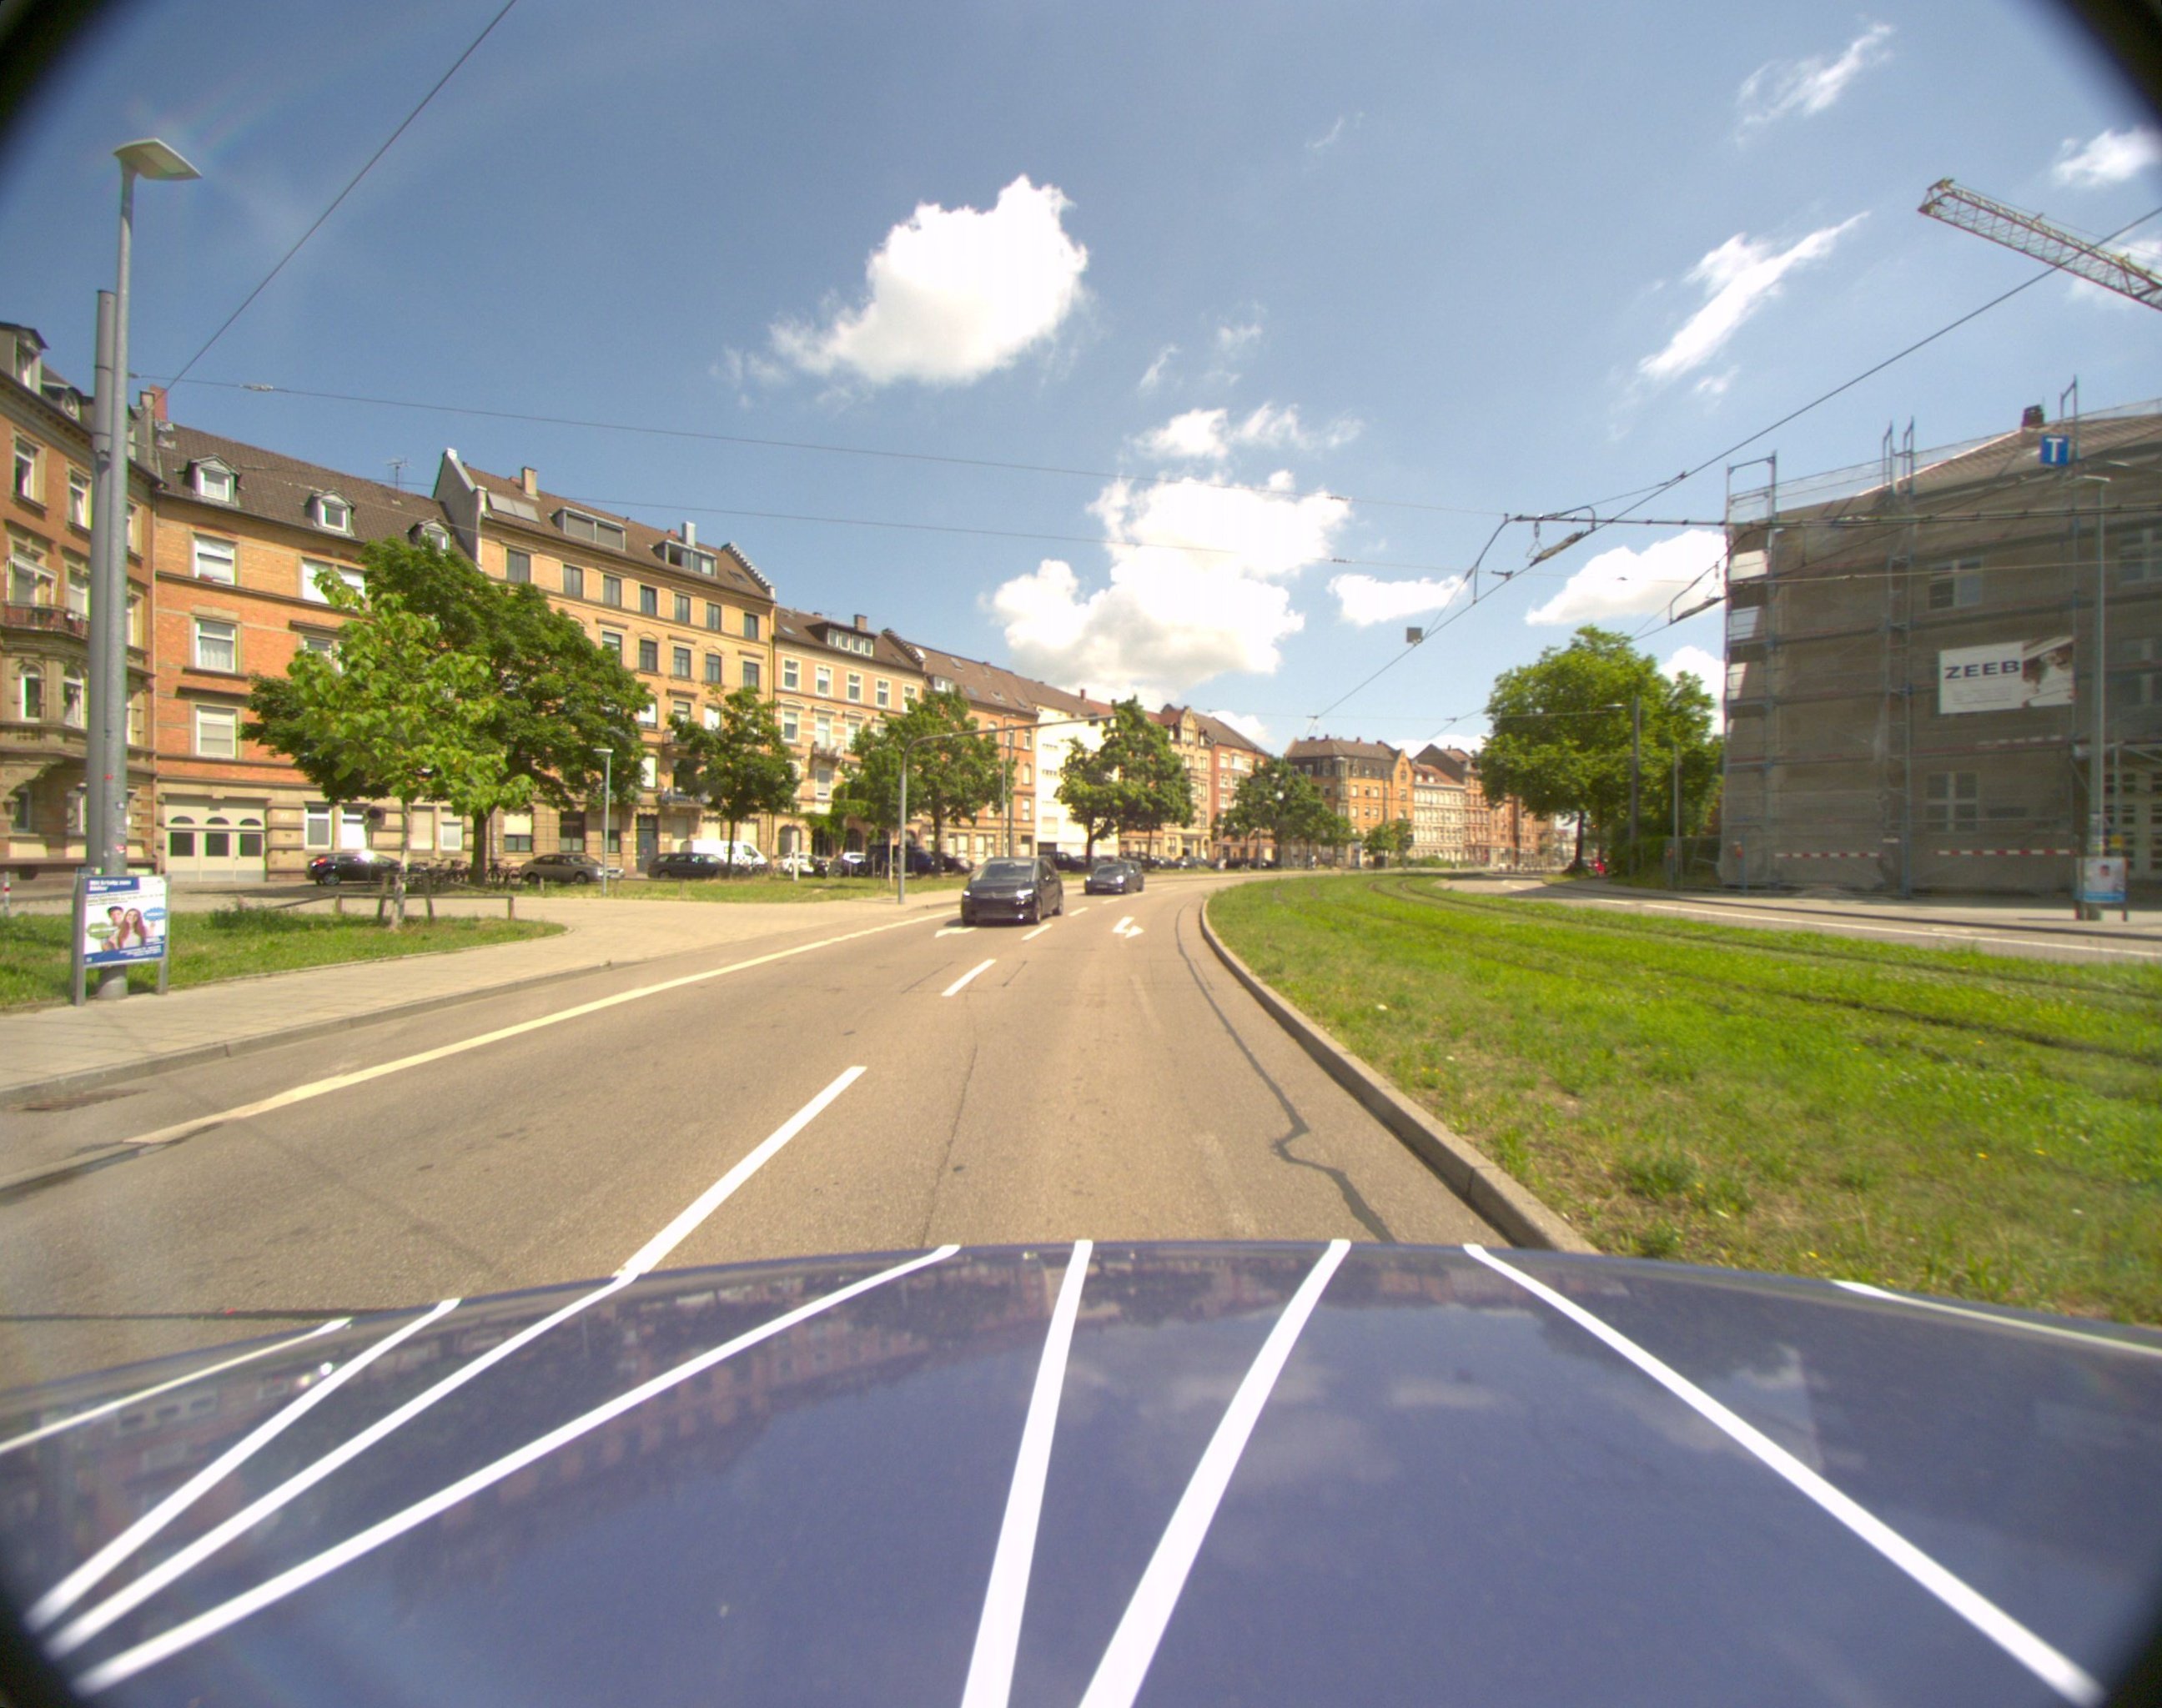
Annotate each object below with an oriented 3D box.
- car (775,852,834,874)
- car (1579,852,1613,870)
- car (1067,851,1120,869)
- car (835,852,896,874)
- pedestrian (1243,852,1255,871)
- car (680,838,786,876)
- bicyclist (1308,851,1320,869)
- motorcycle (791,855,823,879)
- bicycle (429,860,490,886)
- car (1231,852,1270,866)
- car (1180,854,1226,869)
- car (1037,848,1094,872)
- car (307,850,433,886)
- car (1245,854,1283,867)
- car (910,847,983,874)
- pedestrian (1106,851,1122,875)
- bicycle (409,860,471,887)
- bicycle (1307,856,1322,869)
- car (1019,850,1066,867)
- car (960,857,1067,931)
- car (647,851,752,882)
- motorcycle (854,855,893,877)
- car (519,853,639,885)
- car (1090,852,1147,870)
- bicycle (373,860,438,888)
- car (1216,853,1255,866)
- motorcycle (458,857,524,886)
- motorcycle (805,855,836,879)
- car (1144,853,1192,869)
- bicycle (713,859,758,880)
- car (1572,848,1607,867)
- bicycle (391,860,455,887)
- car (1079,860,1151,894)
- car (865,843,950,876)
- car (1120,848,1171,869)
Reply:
[{"bbox_3d":[-18.236,0.570,50.177,1.564,1.395,3.358,0,0,42],"label":"car"},{"bbox_3d":[42.558,0.569,62.728,1.927,1.411,4.059,-2,-2,39],"label":"car"},{"bbox_3d":[1.043,0.465,61.154,4.081,1.397,1.853,-1,0,4],"label":"car"},{"bbox_3d":[-15.257,0.598,53.968,1.660,1.483,3.861,-1,0,39],"label":"car"},{"bbox_3d":[15.188,0.664,68.640,0.700,1.695,1.046,1,3,38],"label":"pedestrian"},{"bbox_3d":[-21.083,0.180,46.247,2.112,2.166,5.405,-1,0,39],"label":"car"},{"bbox_3d":[24.179,0.584,78.767,0.694,1.814,0.958,7,4,41],"label":"bicyclist"},{"bbox_3d":[-13.679,0.627,37.942,1.783,1.160,0.641,0,1,38],"label":"motorcycle"},{"bbox_3d":[-24.137,0.747,29.509,2.387,0.950,0.544,-1,0,15],"label":"bicycle"},{"bbox_3d":[18.400,0.551,82.684,3.995,1.372,1.963,-1,0,6],"label":"car"},{"bbox_3d":[11.903,0.697,74.542,4.265,1.372,1.853,-1,0,3],"label":"car"},{"bbox_3d":[-1.203,0.464,58.954,4.144,1.730,1.854,-1,0,9],"label":"car"},{"bbox_3d":[-31.228,0.593,33.456,1.660,1.483,3.861,-1,0,39],"label":"car"},{"bbox_3d":[20.592,0.755,85.351,3.992,1.346,1.964,-1,0,17],"label":"car"},{"bbox_3d":[-8.574,0.439,48.714,4.167,1.646,1.918,-1,0,13],"label":"car"},{"bbox_3d":[2.219,0.587,51.157,0.700,1.583,0.907,0,0,38],"label":"pedestrian"},{"bbox_3d":[-24.333,0.740,28.839,2.387,0.963,0.544,-1,0,15],"label":"bicycle"},{"bbox_3d":[24.188,0.879,78.815,0.693,1.236,1.843,7,4,42],"label":"bicycle"},{"bbox_3d":[-3.449,0.427,68.746,1.833,1.483,4.236,-1,0,39],"label":"car"},{"bbox_3d":[-1.540,0.890,18.914,1.874,1.610,4.191,-1,0,6],"label":"car"},{"bbox_3d":[-18.287,0.573,36.504,4.253,1.419,1.807,0,0,10],"label":"car"},{"bbox_3d":[-10.970,0.627,40.213,1.910,1.160,0.638,0,0,-39],"label":"motorcycle"},{"bbox_3d":[-21.070,0.626,31.925,4.157,1.237,1.865,-1,0,15],"label":"car"},{"bbox_3d":[3.186,0.586,63.664,4.688,1.372,1.853,-1,0,5],"label":"car"},{"bbox_3d":[-24.645,0.738,27.721,2.387,0.963,0.544,-1,0,15],"label":"bicycle"},{"bbox_3d":[16.333,0.577,80.348,3.993,1.372,1.963,-1,0,11],"label":"car"},{"bbox_3d":[-23.591,0.684,30.393,2.387,1.119,0.814,-1,0,15],"label":"motorcycle"},{"bbox_3d":[-13.231,0.641,38.562,1.783,1.160,0.641,0,1,38],"label":"motorcycle"},{"bbox_3d":[7.949,0.629,69.660,4.265,1.372,1.853,-1,0,3],"label":"car"},{"bbox_3d":[-15.624,0.702,34.425,0.542,0.896,1.825,-1,0,35],"label":"bicycle"},{"bbox_3d":[39.070,0.303,58.313,1.927,1.360,4.327,-2,-2,37],"label":"car"},{"bbox_3d":[-24.498,0.739,28.275,2.387,0.963,0.544,-1,0,15],"label":"bicycle"},{"bbox_3d":[1.618,1.008,34.376,1.911,1.385,4.320,-1,0,21],"label":"car"},{"bbox_3d":[-10.530,0.323,46.326,4.623,1.916,1.918,-1,0,8],"label":"car"},{"bbox_3d":[5.609,0.409,66.486,4.362,1.730,1.853,-1,0,3],"label":"car"}]
